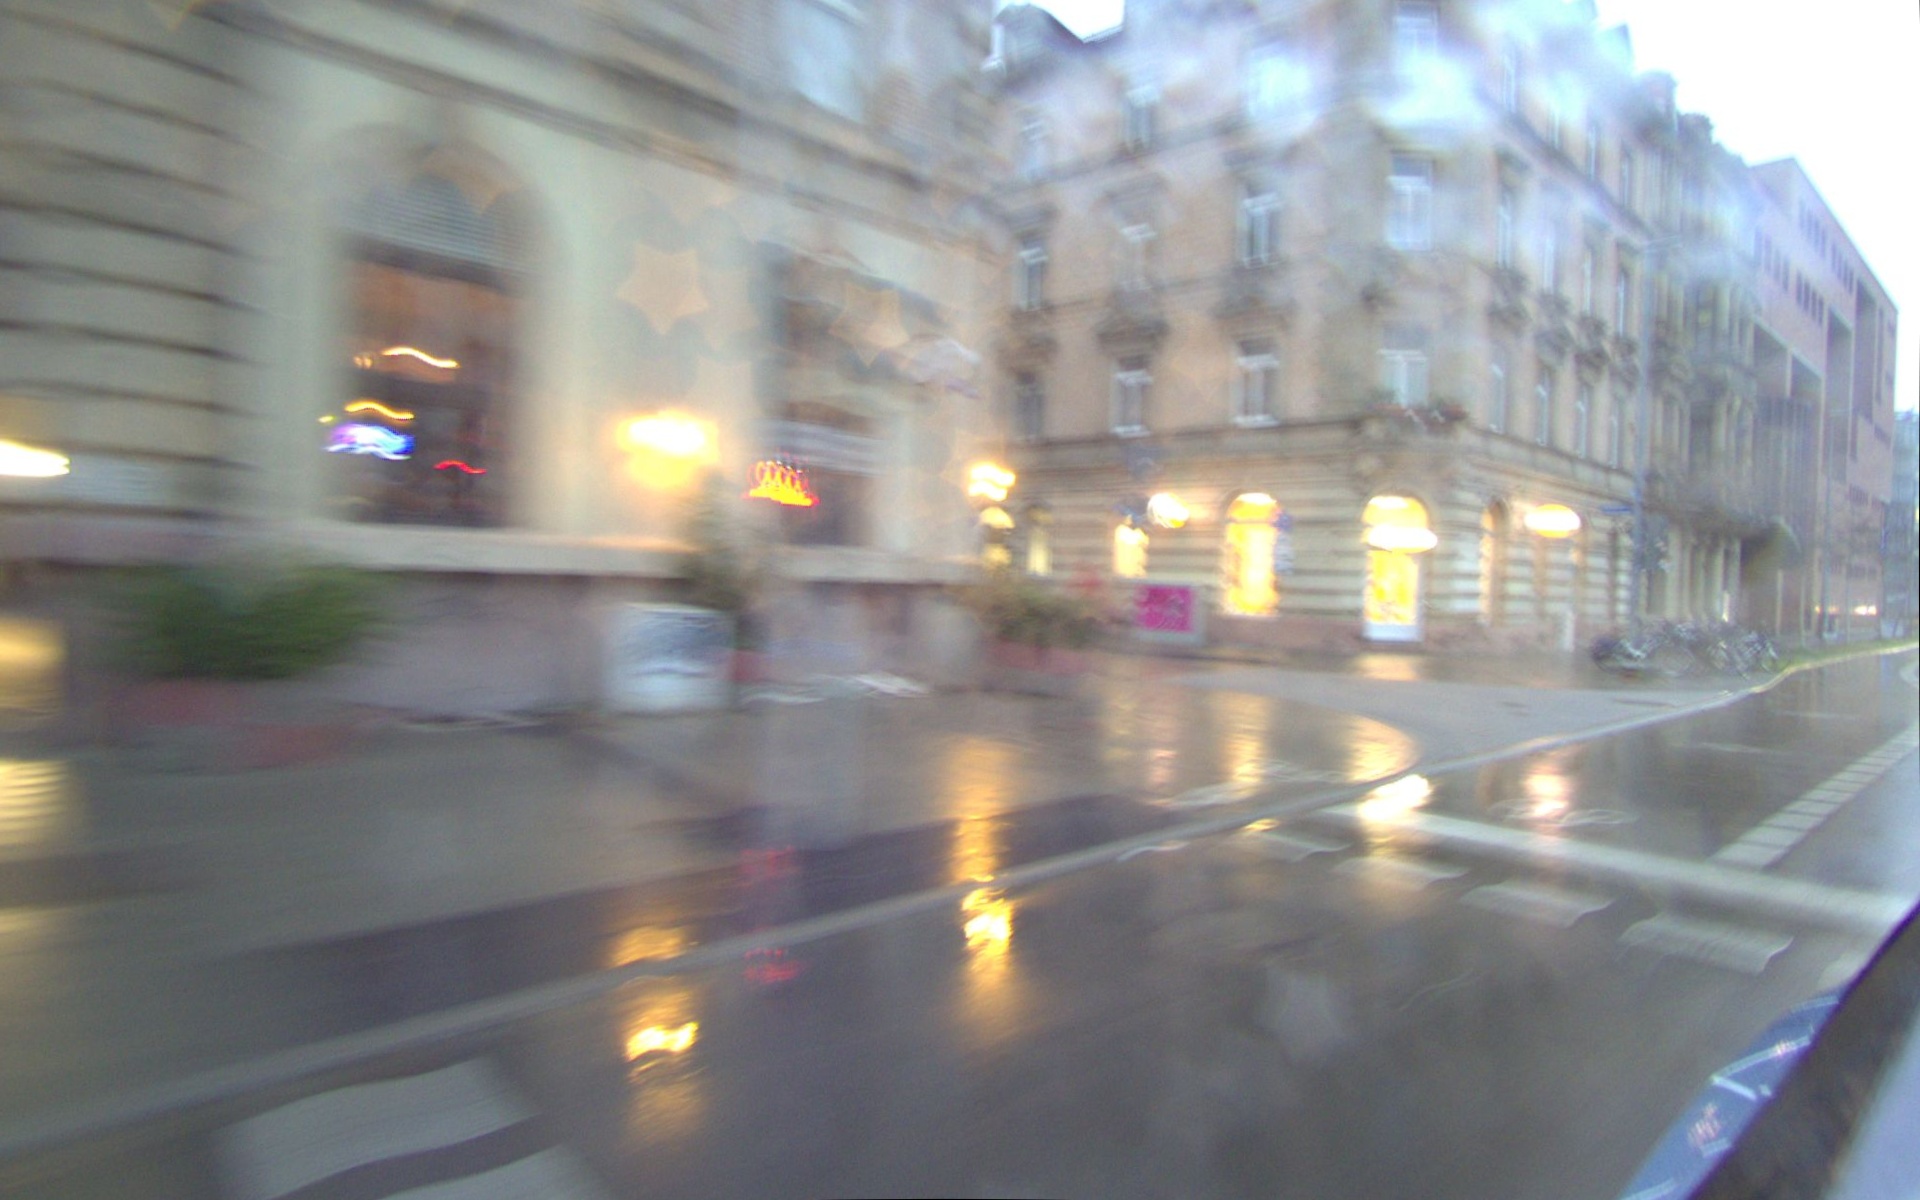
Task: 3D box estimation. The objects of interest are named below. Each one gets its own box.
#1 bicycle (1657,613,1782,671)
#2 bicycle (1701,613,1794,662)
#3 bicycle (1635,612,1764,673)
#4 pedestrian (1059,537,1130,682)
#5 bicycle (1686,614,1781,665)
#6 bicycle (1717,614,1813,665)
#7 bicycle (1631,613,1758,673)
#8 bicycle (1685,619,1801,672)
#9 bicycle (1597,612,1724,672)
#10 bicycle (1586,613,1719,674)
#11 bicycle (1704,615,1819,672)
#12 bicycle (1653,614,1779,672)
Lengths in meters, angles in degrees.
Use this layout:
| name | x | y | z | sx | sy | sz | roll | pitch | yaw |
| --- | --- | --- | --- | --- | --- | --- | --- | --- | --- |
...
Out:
| name | x | y | z | sx | sy | sz | roll | pitch | yaw |
| --- | --- | --- | --- | --- | --- | --- | --- | --- | --- |
| bicycle | 16.991 | 0.919 | 22.709 | 0.418 | 1.068 | 2.148 | 2 | 2 | -42 |
| bicycle | 19.414 | 0.914 | 24.974 | 0.365 | 1.068 | 1.733 | 1 | 2 | -42 |
| bicycle | 15.948 | 0.892 | 21.893 | 0.418 | 1.068 | 2.148 | 2 | 3 | -42 |
| pedestrian | 1.989 | 0.121 | 14.912 | 0.845 | 2.039 | 0.913 | 1 | 1 | 20 |
| bicycle | 18.504 | 0.920 | 24.248 | 0.365 | 1.068 | 1.733 | 1 | 2 | -42 |
| bicycle | 19.322 | 0.936 | 24.332 | 0.365 | 1.068 | 1.733 | 1 | 2 | -42 |
| bicycle | 15.600 | 0.891 | 21.550 | 0.470 | 1.064 | 2.092 | 1 | 3 | -42 |
| bicycle | 18.003 | 1.020 | 23.311 | 0.418 | 0.982 | 2.012 | 1 | 4 | -42 |
| bicycle | 14.554 | 0.850 | 21.075 | 0.470 | 1.065 | 2.091 | 1 | 3 | -42 |
| bicycle | 13.773 | 0.850 | 20.184 | 2.071 | 1.065 | 0.474 | 3 | 2 | 24 |
| bicycle | 18.630 | 0.992 | 23.567 | 0.418 | 1.108 | 2.012 | 1 | 4 | -42 |
| bicycle | 16.625 | 0.924 | 22.316 | 0.476 | 1.068 | 2.148 | 1 | 3 | -42 |
